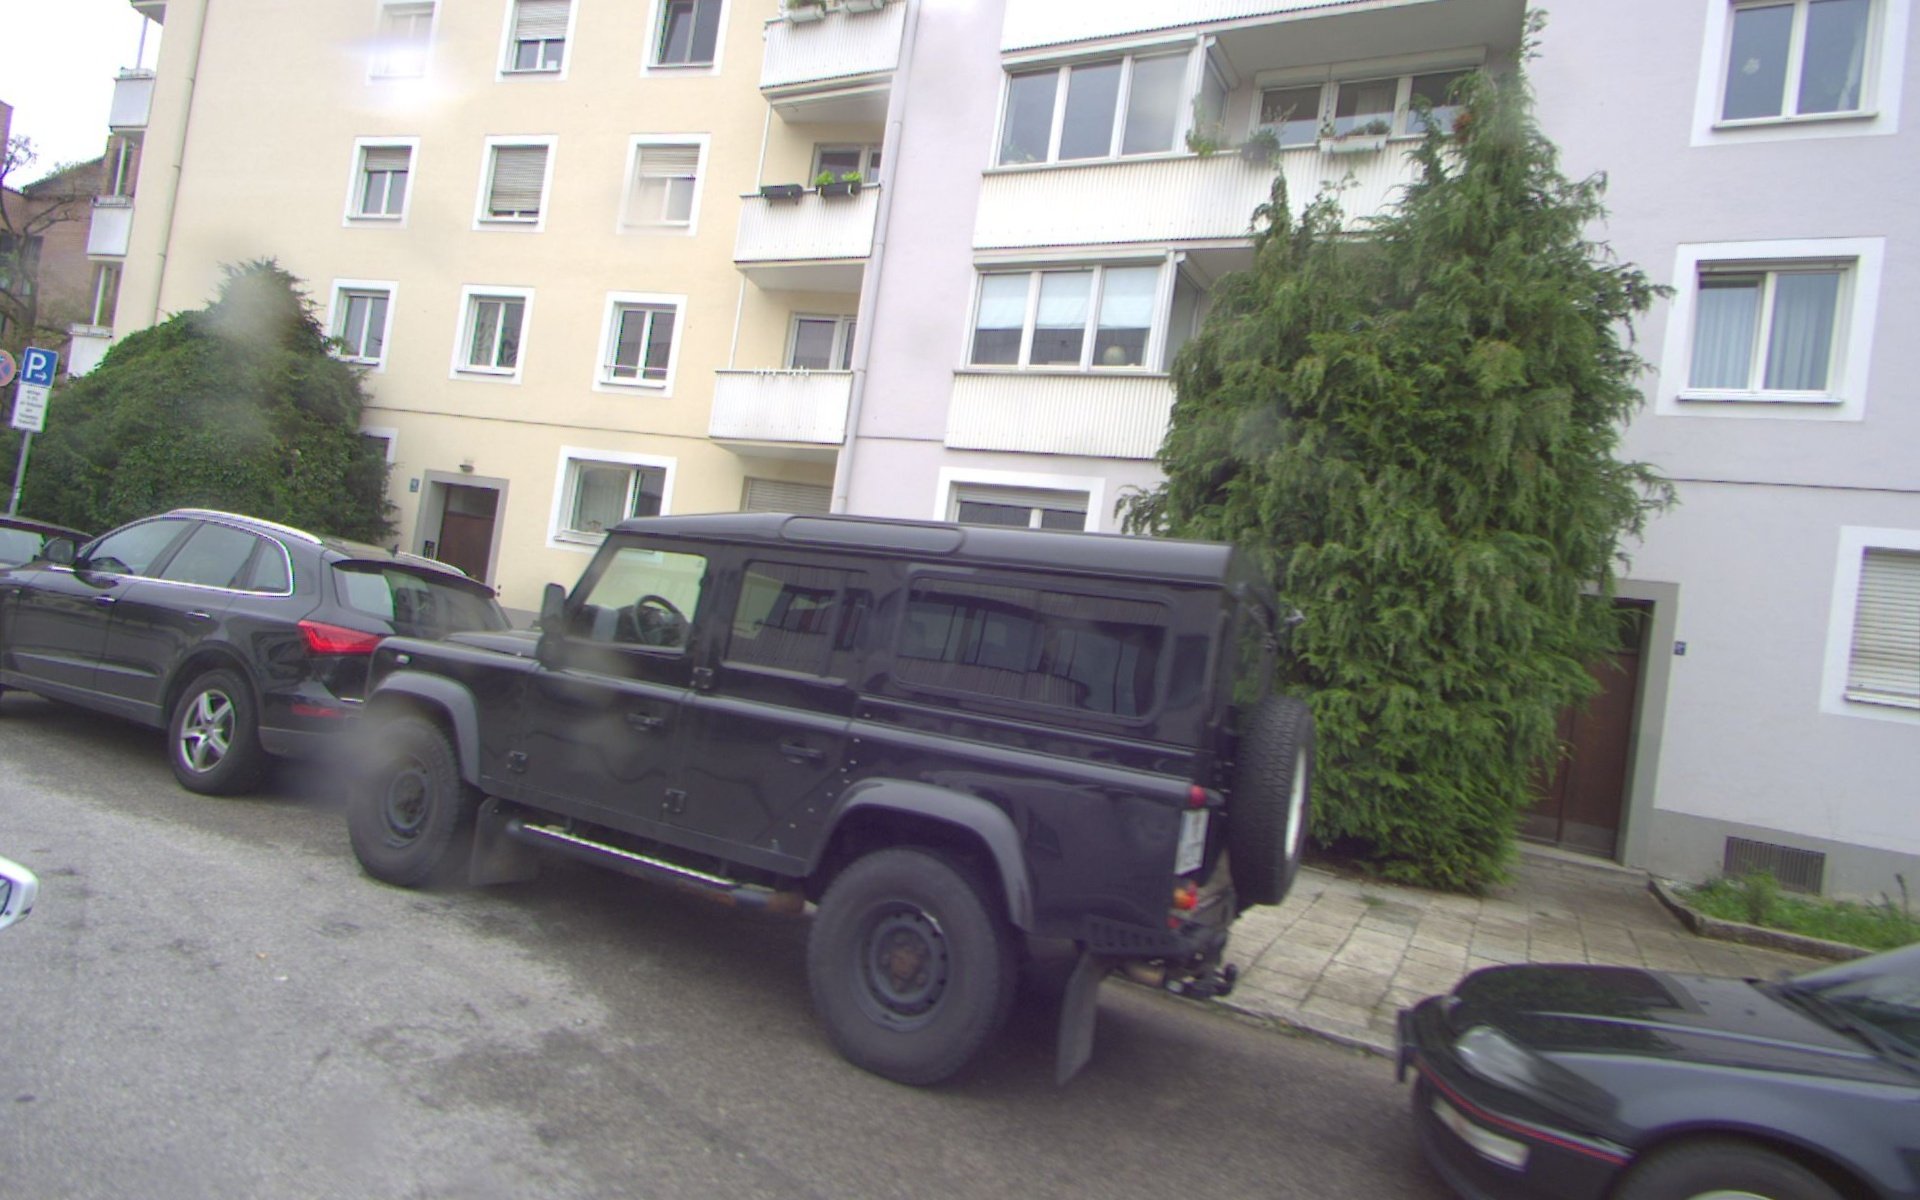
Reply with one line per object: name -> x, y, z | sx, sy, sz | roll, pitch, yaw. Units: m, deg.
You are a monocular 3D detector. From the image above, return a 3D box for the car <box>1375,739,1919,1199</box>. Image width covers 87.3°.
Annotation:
car -> 3.240, 1.368, 2.770 | 3.735, 1.363, 1.666 | 7, -4, 23

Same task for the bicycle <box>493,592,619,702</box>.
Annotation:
bicycle -> -5.140, 0.573, 12.740 | 1.915, 1.131, 0.467 | 8, 0, 38

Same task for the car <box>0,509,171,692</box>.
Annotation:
car -> -9.413, -0.203, 8.983 | 3.969, 1.411, 1.763 | 7, -4, 20

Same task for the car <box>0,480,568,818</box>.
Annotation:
car -> -5.170, 0.228, 7.074 | 4.432, 1.582, 1.666 | 7, -4, 24

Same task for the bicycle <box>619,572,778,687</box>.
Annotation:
bicycle -> -3.199, 0.347, 12.233 | 1.909, 1.131, 0.468 | 8, 0, 27

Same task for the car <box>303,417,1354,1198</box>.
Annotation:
car -> -0.711, 0.535, 4.753 | 4.436, 2.103, 1.755 | 8, -3, 27
